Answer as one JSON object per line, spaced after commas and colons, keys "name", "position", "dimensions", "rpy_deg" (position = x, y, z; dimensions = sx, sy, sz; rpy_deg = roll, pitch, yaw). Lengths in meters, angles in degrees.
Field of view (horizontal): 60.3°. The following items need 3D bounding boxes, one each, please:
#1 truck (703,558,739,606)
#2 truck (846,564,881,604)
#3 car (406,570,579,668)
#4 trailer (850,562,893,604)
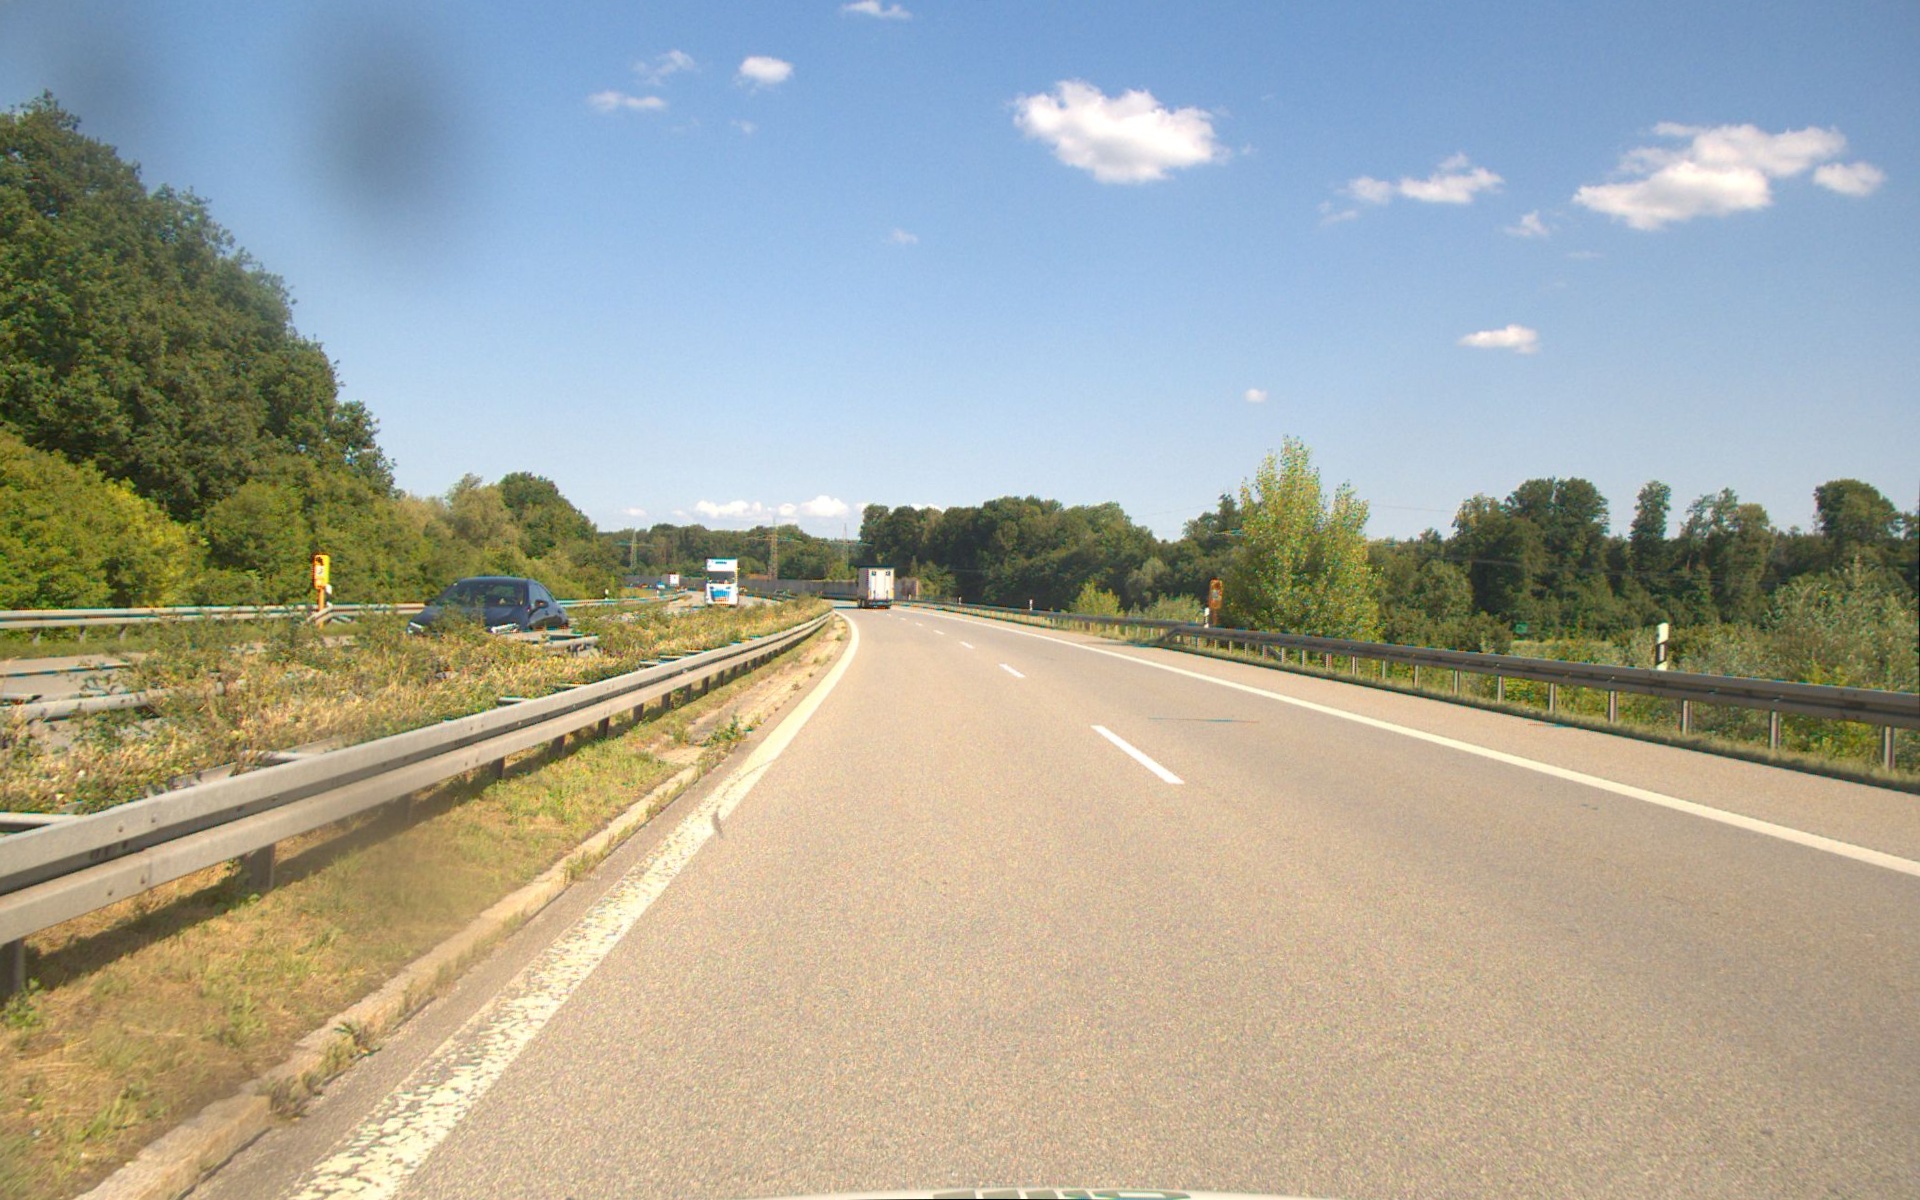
{"name": "truck", "position": [-19.193, -1.433, 132.945], "dimensions": [2.689, 3.792, 5.962], "rpy_deg": [0, 0, -7]}
{"name": "truck", "position": [-10.240, -1.702, 174.903], "dimensions": [2.780, 4.082, 6.568], "rpy_deg": [0, 0, -12]}
{"name": "car", "position": [-7.431, 0.288, 26.649], "dimensions": [1.694, 1.453, 3.881], "rpy_deg": [0, 0, 0]}
{"name": "trailer", "position": [-9.126, -1.726, 168.916], "dimensions": [2.832, 4.137, 12.389], "rpy_deg": [0, 1, -10]}
